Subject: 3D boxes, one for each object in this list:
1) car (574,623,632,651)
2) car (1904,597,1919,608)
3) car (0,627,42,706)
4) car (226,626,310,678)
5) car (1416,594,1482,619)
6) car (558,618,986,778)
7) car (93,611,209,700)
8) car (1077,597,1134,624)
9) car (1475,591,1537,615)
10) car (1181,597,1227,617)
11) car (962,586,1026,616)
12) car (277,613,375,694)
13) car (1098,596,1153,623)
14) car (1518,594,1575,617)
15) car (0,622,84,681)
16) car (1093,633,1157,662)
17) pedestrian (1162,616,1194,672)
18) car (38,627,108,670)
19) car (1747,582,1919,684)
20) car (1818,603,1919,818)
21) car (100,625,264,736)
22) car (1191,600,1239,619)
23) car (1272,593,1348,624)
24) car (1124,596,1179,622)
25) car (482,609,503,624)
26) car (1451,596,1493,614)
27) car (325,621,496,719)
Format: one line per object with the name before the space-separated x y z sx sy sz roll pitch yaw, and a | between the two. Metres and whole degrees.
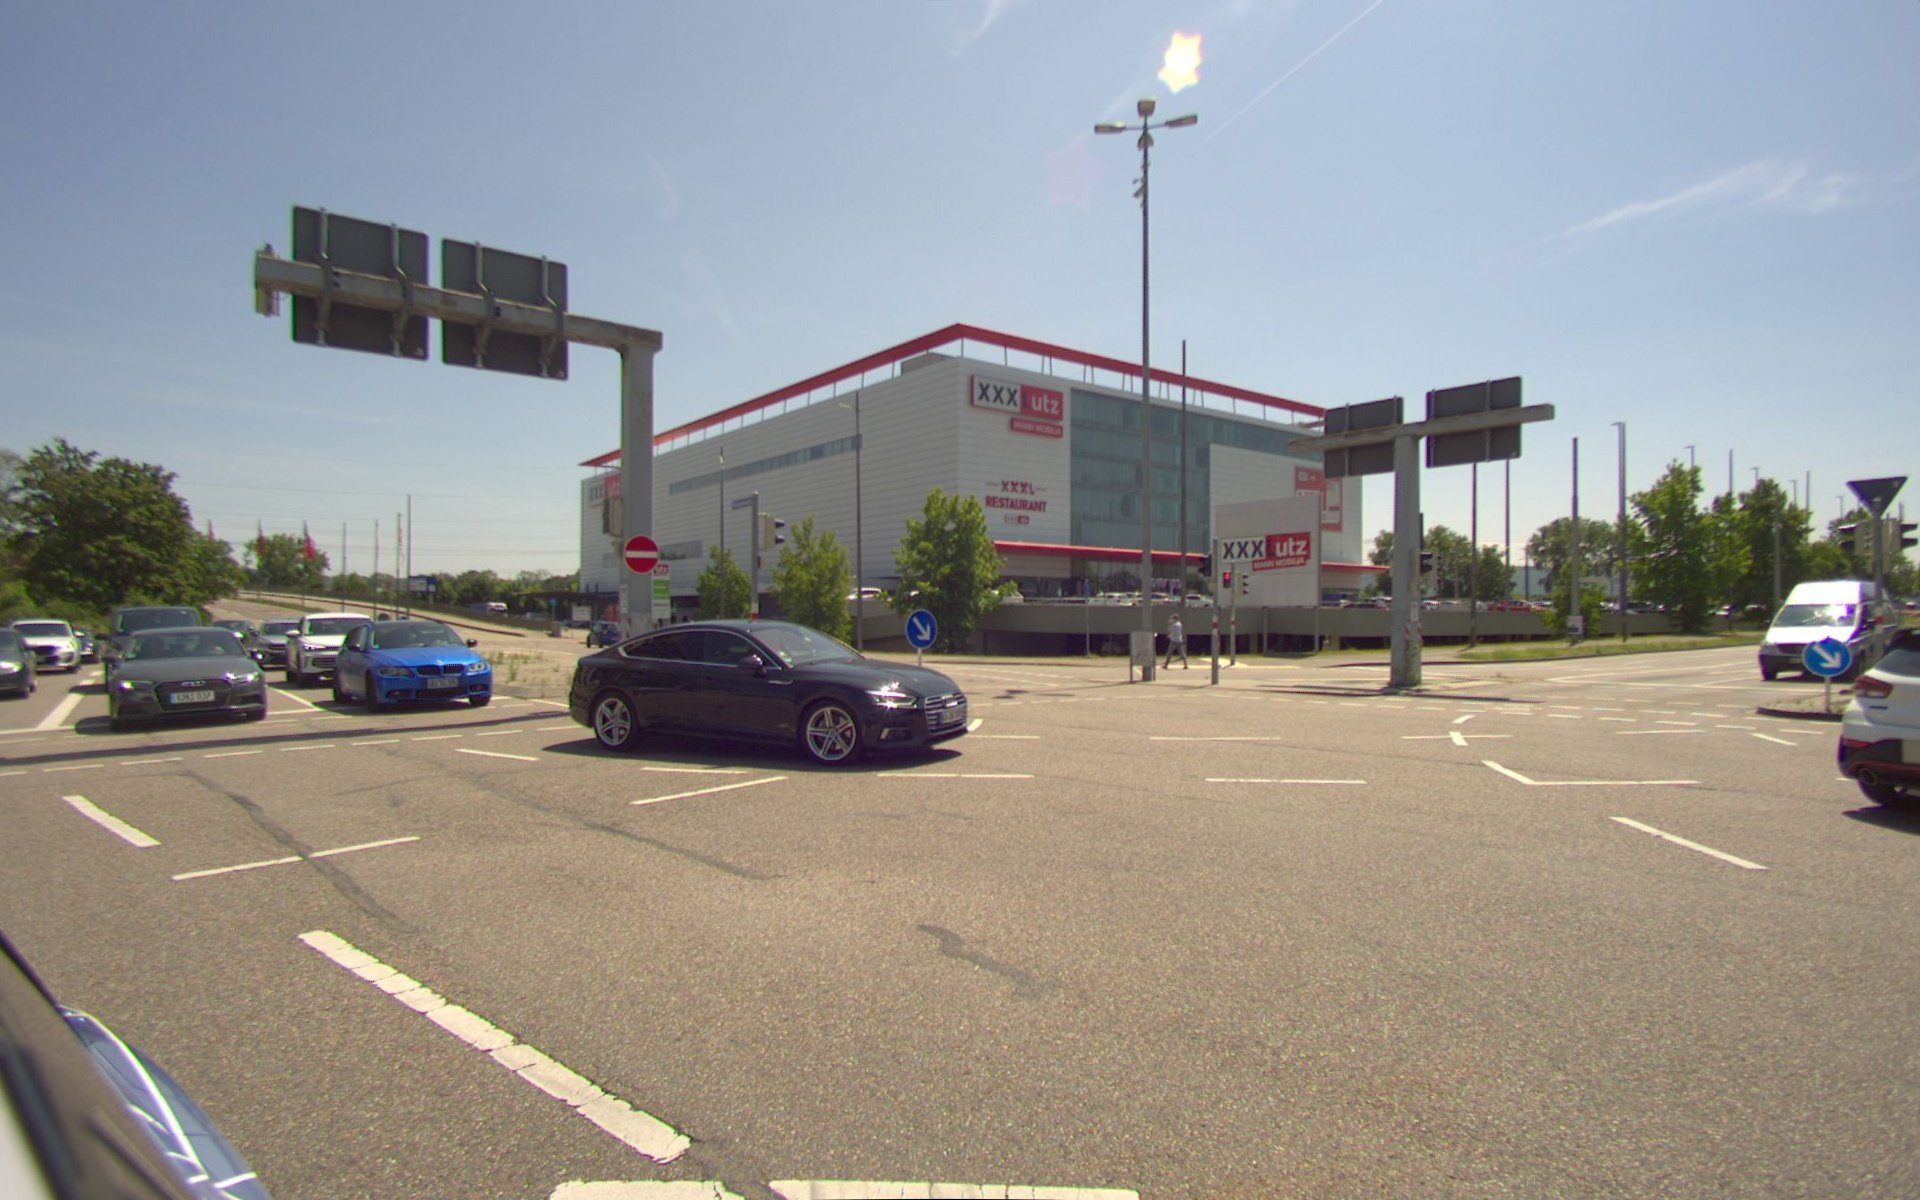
car | -21.329 2.187 60.384 1.968 1.608 4.007 1 -2 -40
car | 132.212 0.376 138.704 4.008 1.433 1.674 -1 -1 42
car | -20.423 1.336 21.065 1.532 1.548 3.829 1 -2 -36
car | -21.305 1.558 31.288 1.740 1.433 3.911 -1 -1 -29
car | 39.410 0.548 81.625 1.968 2.029 4.337 1 -1 -39
car | -2.070 0.918 10.768 4.446 1.415 1.661 -1 -1 28
car | -18.879 1.205 23.808 1.866 1.835 4.848 -1 0 -36
car | 11.189 0.854 77.982 1.755 2.029 4.241 1 -1 -39
car | 47.509 0.265 88.079 1.968 2.029 4.337 1 -1 -39
car | 22.155 0.637 92.026 1.755 1.801 3.846 1 -1 -39
car | 2.394 0.090 70.933 4.401 2.029 1.682 1 -2 -37
car | -14.751 1.159 23.598 1.741 1.653 4.504 -1 0 -32
car | 12.953 0.756 79.365 1.755 2.029 4.142 1 -1 -39
car | 53.057 0.521 91.541 1.968 2.029 4.007 1 -1 -39
car | -28.022 1.514 30.833 1.750 1.621 3.829 1 -1 -37
car | 10.479 2.968 64.067 3.939 1.719 2.002 1 -2 -43
pedestrian | 7.092 1.421 32.972 0.595 1.797 0.828 1 -2 -37
car | -32.362 1.745 37.007 1.742 1.413 3.959 0 -1 -39
car | 20.948 0.756 24.189 4.965 2.200 2.005 0 -2 -35
car | 8.465 0.746 6.871 4.005 1.447 1.797 0 -1 -9
car | -11.695 1.131 15.163 1.743 1.393 4.096 0 -2 -40
car | 23.646 0.880 93.885 1.755 1.694 4.142 1 -1 -39
car | 23.273 0.570 67.360 1.970 2.029 4.333 1 -1 -44
car | 15.201 0.747 80.598 1.755 2.029 4.142 1 -1 -39
car | -74.687 2.664 161.699 2.158 2.300 4.824 1 -2 -37
car | 59.632 0.596 117.914 1.969 2.029 4.006 1 -1 -41
car | -9.435 1.114 17.195 1.743 1.413 4.438 0 -2 -40
